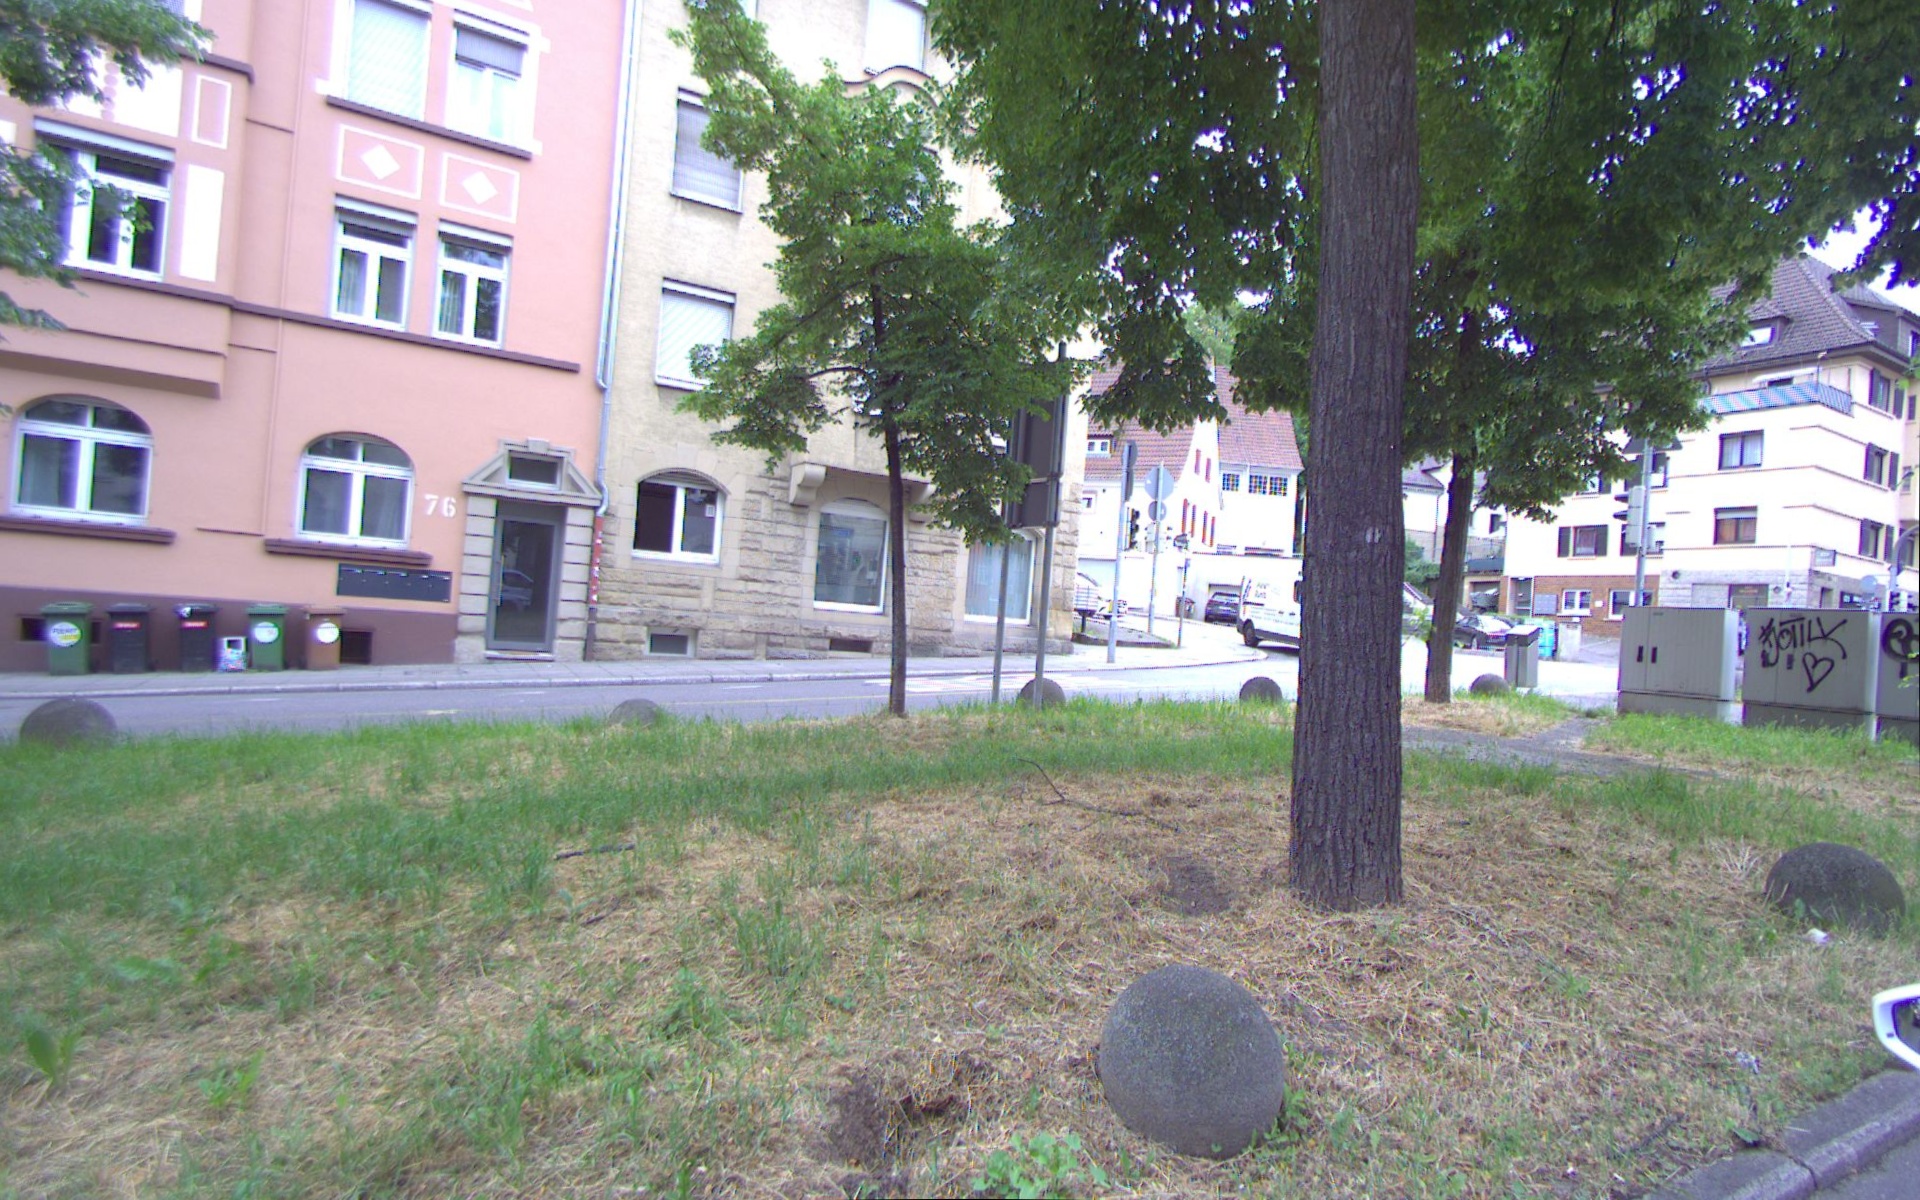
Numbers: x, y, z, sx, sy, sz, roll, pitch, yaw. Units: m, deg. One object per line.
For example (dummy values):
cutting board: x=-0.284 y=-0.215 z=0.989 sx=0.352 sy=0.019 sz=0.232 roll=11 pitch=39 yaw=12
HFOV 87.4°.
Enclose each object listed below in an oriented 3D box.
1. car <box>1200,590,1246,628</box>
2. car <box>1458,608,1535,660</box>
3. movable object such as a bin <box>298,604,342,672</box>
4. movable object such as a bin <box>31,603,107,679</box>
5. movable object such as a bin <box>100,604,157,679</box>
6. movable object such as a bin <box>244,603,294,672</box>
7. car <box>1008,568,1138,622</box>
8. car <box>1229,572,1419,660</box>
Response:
car: x=11.714 y=0.372 z=44.822 sx=1.638 sy=1.424 sz=3.058 roll=7 pitch=3 yaw=11
car: x=21.901 y=1.342 z=41.116 sx=1.832 sy=1.619 sz=3.519 roll=2 pitch=6 yaw=13
movable object such as a bin: x=-9.292 y=0.541 z=14.574 sx=0.510 sy=0.934 sz=0.752 roll=2 pitch=0 yaw=-34
movable object such as a bin: x=-11.658 y=0.532 z=13.158 sx=0.611 sy=0.961 sz=0.613 roll=2 pitch=0 yaw=-31
movable object such as a bin: x=-11.163 y=0.548 z=13.491 sx=0.527 sy=0.958 sz=0.576 roll=2 pitch=0 yaw=-36
movable object such as a bin: x=-9.806 y=0.524 z=14.260 sx=0.554 sy=0.934 sz=0.649 roll=2 pitch=0 yaw=-34
car: x=3.844 y=-0.202 z=34.620 sx=4.202 sy=1.615 sz=1.682 roll=4 pitch=2 yaw=42
car: x=8.993 y=0.339 z=25.450 sx=1.965 sy=1.971 sz=5.293 roll=1 pitch=1 yaw=-13
